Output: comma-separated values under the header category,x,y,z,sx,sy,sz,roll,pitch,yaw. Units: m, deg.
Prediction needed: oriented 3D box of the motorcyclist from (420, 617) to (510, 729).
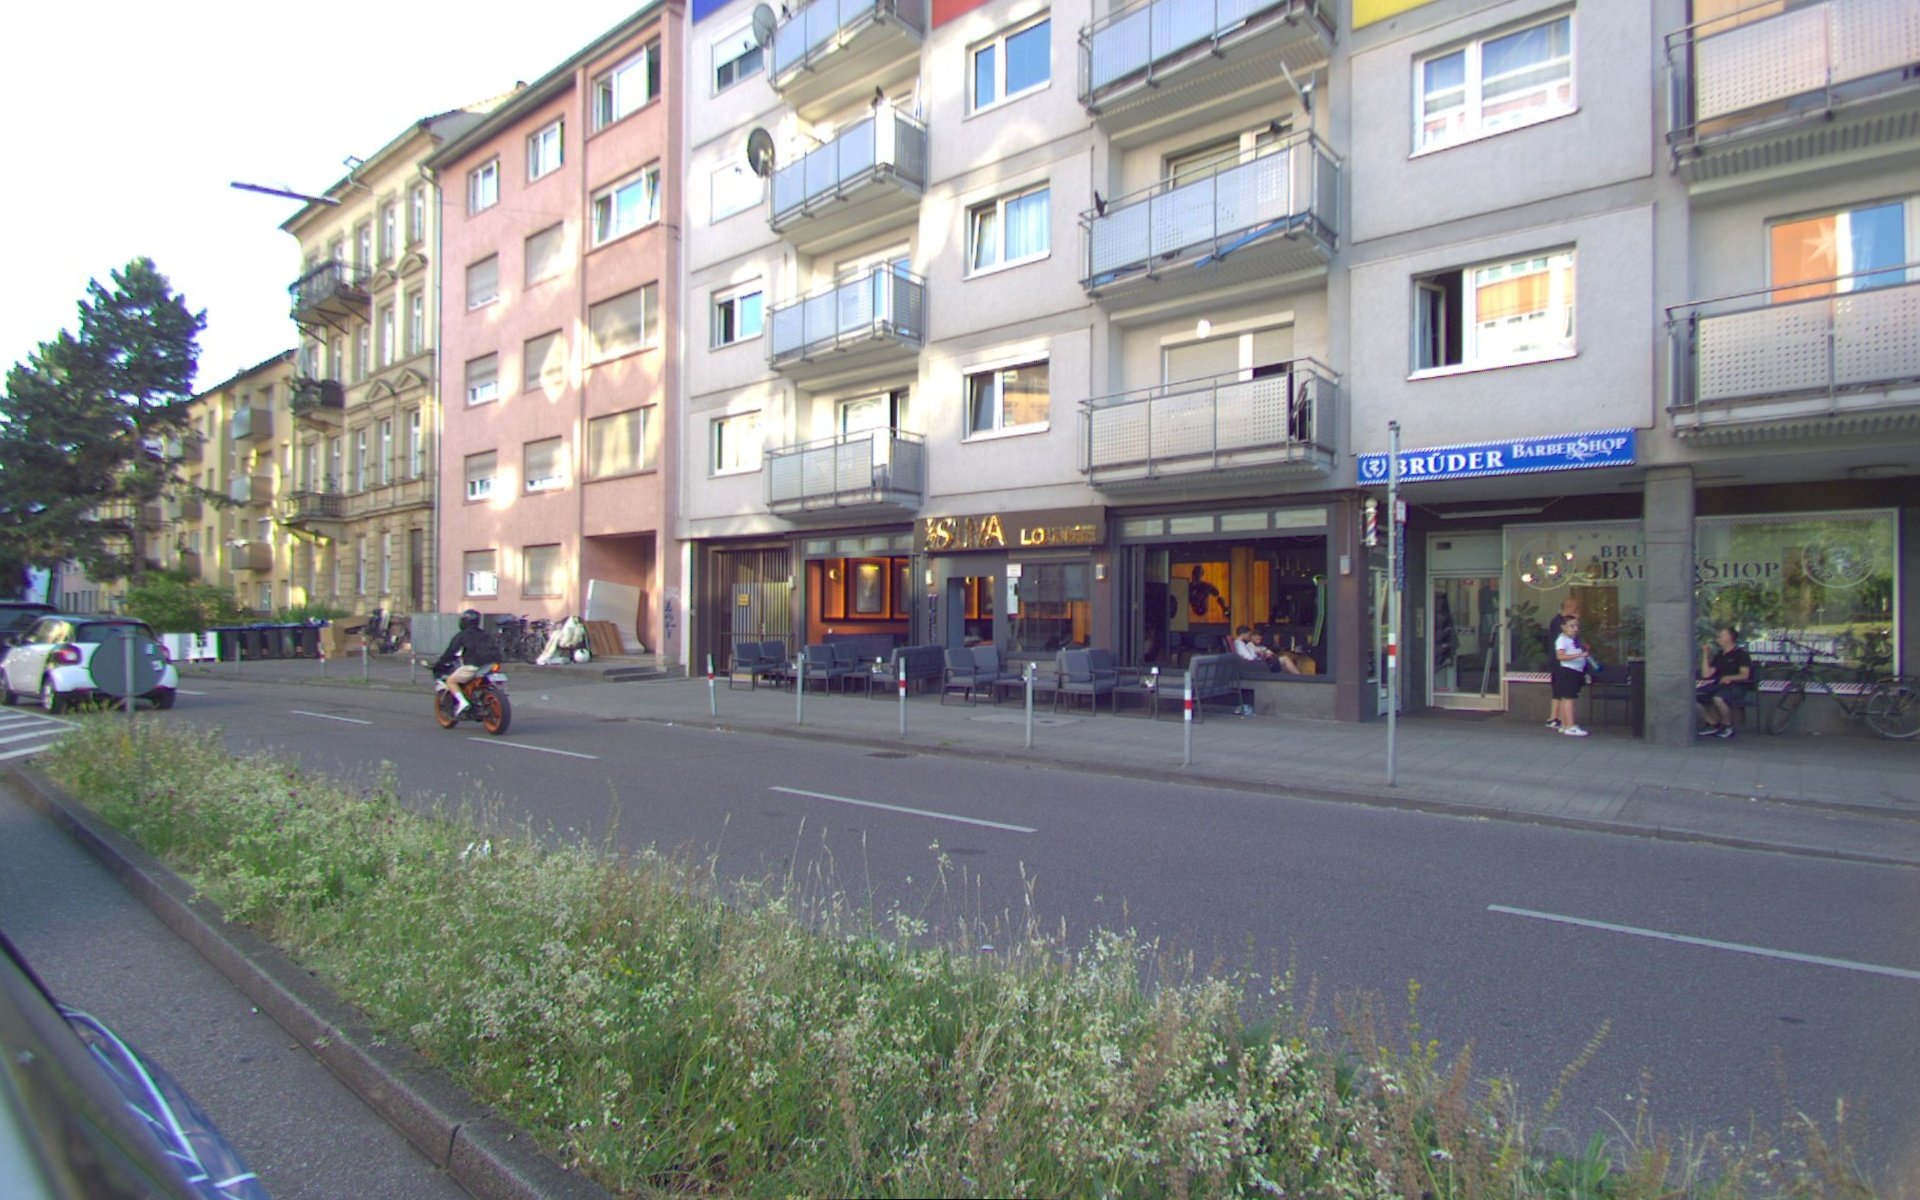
category,x,y,z,sx,sy,sz,roll,pitch,yaw
motorcyclist,-6.690,0.963,13.681,0.957,1.452,0.741,-1,-3,39

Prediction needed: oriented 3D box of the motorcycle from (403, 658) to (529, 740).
category,x,y,z,sx,sy,sz,roll,pitch,yaw
motorcycle,-6.700,1.301,13.674,2.046,0.970,0.741,-1,-2,40

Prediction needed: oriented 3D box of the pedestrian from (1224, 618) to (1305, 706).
category,x,y,z,sx,sy,sz,roll,pitch,yaw
pedestrian,4.859,0.967,16.169,0.974,1.357,0.871,-1,-2,40

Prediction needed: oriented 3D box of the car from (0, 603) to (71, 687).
category,x,y,z,sx,sy,sz,roll,pitch,yaw
car,-23.106,1.028,23.855,4.684,1.868,1.876,-1,-2,32

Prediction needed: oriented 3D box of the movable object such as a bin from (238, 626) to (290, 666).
category,x,y,z,sx,sy,sz,roll,pitch,yaw
movable object such as a bin,-22.260,1.474,32.384,0.837,1.242,1.193,0,-1,0

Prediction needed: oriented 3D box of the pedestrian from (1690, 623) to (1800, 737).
category,x,y,z,sx,sy,sz,roll,pitch,yaw
pedestrian,9.379,0.938,12.116,0.798,1.323,0.626,0,-1,-3

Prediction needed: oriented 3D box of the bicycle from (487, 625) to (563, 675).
category,x,y,z,sx,sy,sz,roll,pitch,yaw
bicycle,-11.065,1.252,25.798,0.473,1.200,1.758,-1,-2,38

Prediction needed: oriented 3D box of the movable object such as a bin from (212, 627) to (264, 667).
category,x,y,z,sx,sy,sz,roll,pitch,yaw
movable object such as a bin,-23.130,1.485,32.441,0.837,1.242,1.193,0,-1,0

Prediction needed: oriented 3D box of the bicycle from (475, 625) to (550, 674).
category,x,y,z,sx,sy,sz,roll,pitch,yaw
bicycle,-11.609,1.266,26.291,0.473,1.200,1.758,-1,-2,38

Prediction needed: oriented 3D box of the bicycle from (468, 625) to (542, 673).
category,x,y,z,sx,sy,sz,roll,pitch,yaw
bicycle,-11.998,1.271,26.728,0.473,1.200,1.758,-1,-2,38

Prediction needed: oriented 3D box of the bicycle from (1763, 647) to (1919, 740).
category,x,y,z,sx,sy,sz,roll,pitch,yaw
bicycle,10.558,1.076,11.880,1.691,1.006,0.620,0,-1,32

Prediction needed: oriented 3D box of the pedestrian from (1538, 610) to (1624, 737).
category,x,y,z,sx,sy,sz,roll,pitch,yaw
pedestrian,7.476,0.869,12.204,0.650,1.478,0.625,0,-1,5

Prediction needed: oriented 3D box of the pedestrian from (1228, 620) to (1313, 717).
category,x,y,z,sx,sy,sz,roll,pitch,yaw
pedestrian,4.559,0.971,14.855,0.882,1.357,0.961,-1,-2,40

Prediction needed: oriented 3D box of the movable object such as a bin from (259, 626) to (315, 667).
category,x,y,z,sx,sy,sz,roll,pitch,yaw
movable object such as a bin,-21.333,1.460,32.101,0.916,1.242,1.292,0,-1,0

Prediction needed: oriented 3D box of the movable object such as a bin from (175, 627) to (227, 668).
category,x,y,z,sx,sy,sz,roll,pitch,yaw
movable object such as a bin,-24.053,1.497,32.107,0.836,1.242,1.195,0,-1,-8

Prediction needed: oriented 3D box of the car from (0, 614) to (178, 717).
category,x,y,z,sx,sy,sz,roll,pitch,yaw
car,-14.734,1.033,16.923,3.394,1.554,1.579,-1,-2,33

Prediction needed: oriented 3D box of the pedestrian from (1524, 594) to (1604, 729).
category,x,y,z,sx,sy,sz,roll,pitch,yaw
pedestrian,7.736,0.779,12.989,0.650,1.685,0.625,0,-1,5

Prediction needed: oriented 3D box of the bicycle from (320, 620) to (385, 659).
category,x,y,z,sx,sy,sz,roll,pitch,yaw
bicycle,-19.456,1.258,32.441,0.473,1.200,1.758,-1,-2,38

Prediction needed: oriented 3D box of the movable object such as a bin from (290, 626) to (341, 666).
category,x,y,z,sx,sy,sz,roll,pitch,yaw
movable object such as a bin,-20.404,1.450,32.052,0.837,1.242,1.193,0,-1,0
